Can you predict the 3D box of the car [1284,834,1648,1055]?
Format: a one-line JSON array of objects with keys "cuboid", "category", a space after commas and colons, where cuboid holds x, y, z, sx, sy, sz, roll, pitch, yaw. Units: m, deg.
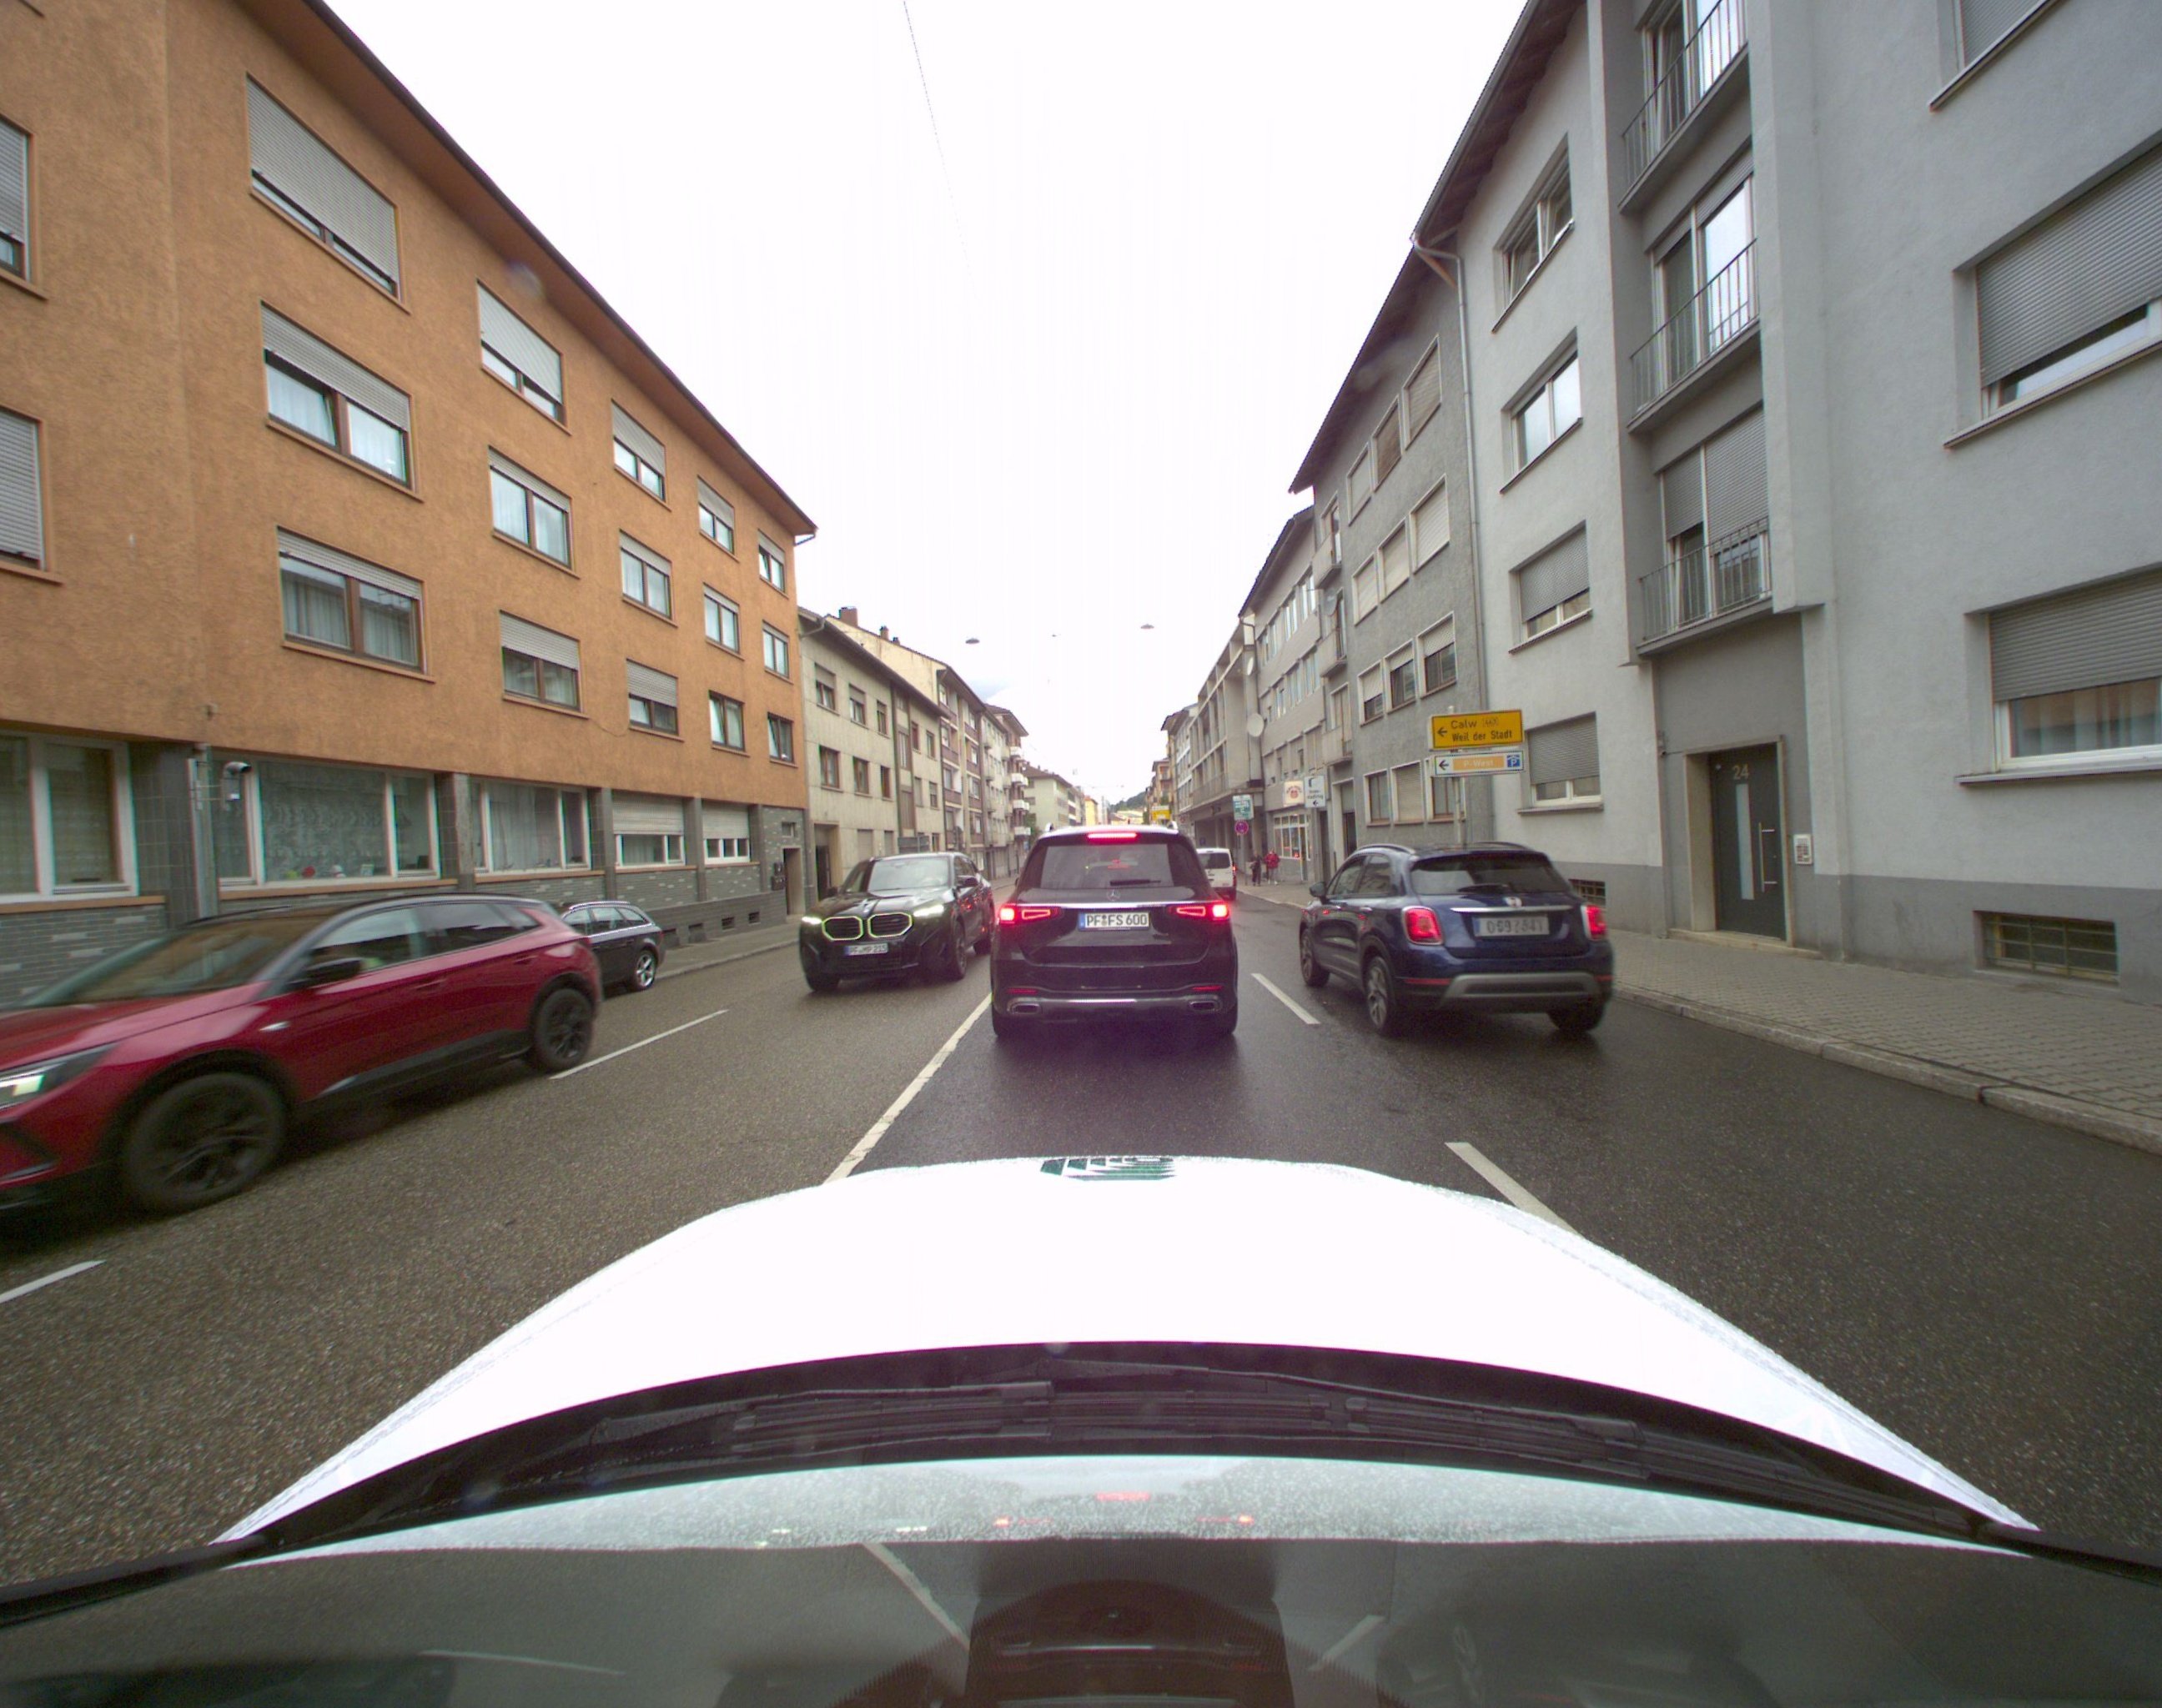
[{"cuboid": [3.336, 0.672, 8.017, 1.760, 1.580, 4.002, -2, 0, 2], "category": "car"}]
